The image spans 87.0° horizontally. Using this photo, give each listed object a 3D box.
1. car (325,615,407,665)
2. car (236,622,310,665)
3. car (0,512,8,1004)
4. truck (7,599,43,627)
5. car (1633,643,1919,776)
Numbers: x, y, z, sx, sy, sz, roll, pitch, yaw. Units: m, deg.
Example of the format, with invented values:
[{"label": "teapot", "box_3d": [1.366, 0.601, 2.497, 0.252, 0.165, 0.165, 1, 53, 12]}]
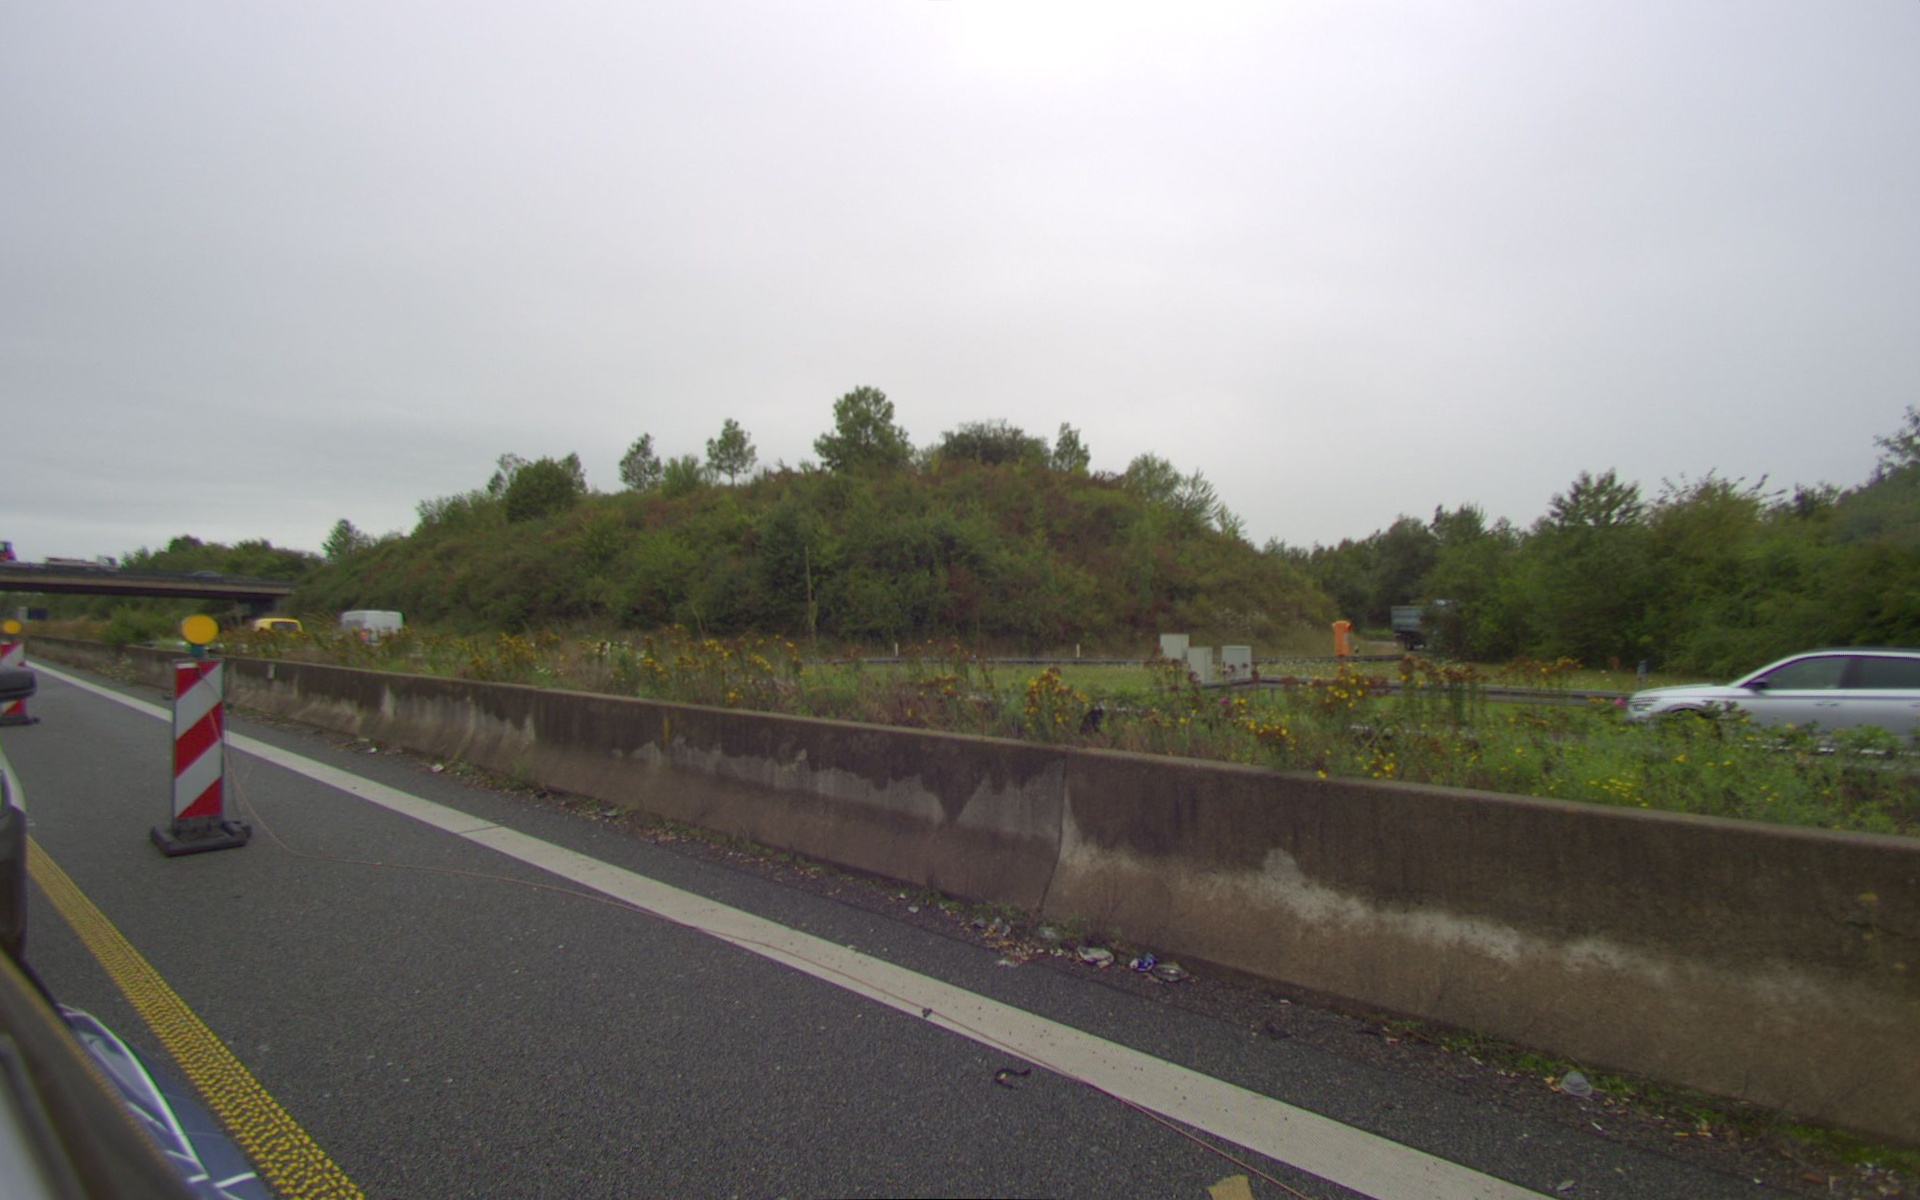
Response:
[{"label": "car", "box_3d": [-31.249, 2.094, 53.127, 5.884, 2.459, 2.214, -2, -3, 44]}, {"label": "car", "box_3d": [-34.606, 2.151, 50.917, 4.777, 2.063, 1.972, -2, -3, 42]}, {"label": "car", "box_3d": [-5.817, 0.628, 4.578, 4.645, 1.798, 1.747, -1, -1, 41]}, {"label": "truck", "box_3d": [-158.869, 2.119, 171.886, 17.291, 4.558, 3.369, 0, -1, 44]}, {"label": "car", "box_3d": [11.043, 1.294, 12.667, 4.108, 1.491, 1.972, -2, -3, 42]}]
